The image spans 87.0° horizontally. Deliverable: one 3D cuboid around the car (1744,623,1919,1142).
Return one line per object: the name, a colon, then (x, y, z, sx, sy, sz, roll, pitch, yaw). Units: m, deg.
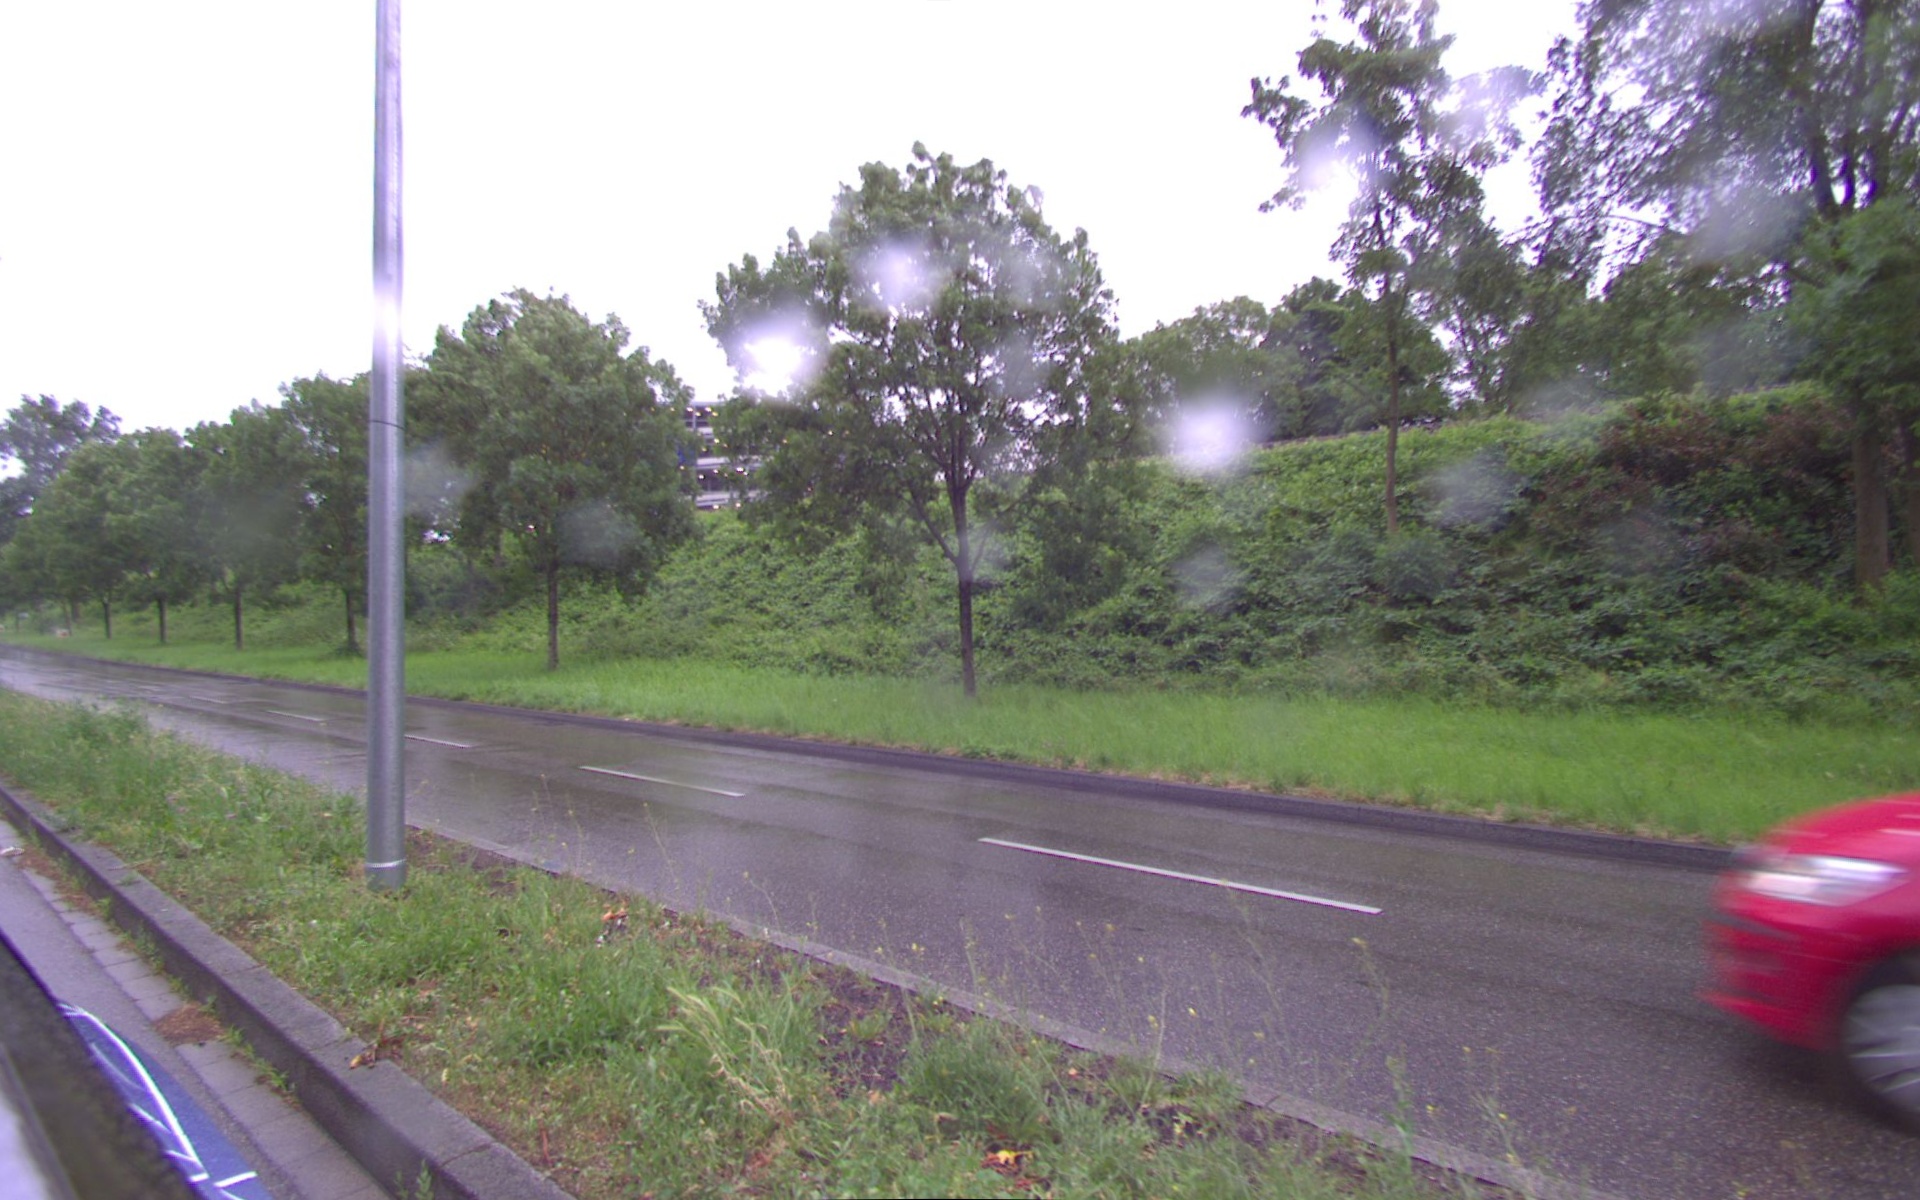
car: (4.452, 0.837, 2.697, 3.613, 1.525, 1.697, -2, -4, 42)
